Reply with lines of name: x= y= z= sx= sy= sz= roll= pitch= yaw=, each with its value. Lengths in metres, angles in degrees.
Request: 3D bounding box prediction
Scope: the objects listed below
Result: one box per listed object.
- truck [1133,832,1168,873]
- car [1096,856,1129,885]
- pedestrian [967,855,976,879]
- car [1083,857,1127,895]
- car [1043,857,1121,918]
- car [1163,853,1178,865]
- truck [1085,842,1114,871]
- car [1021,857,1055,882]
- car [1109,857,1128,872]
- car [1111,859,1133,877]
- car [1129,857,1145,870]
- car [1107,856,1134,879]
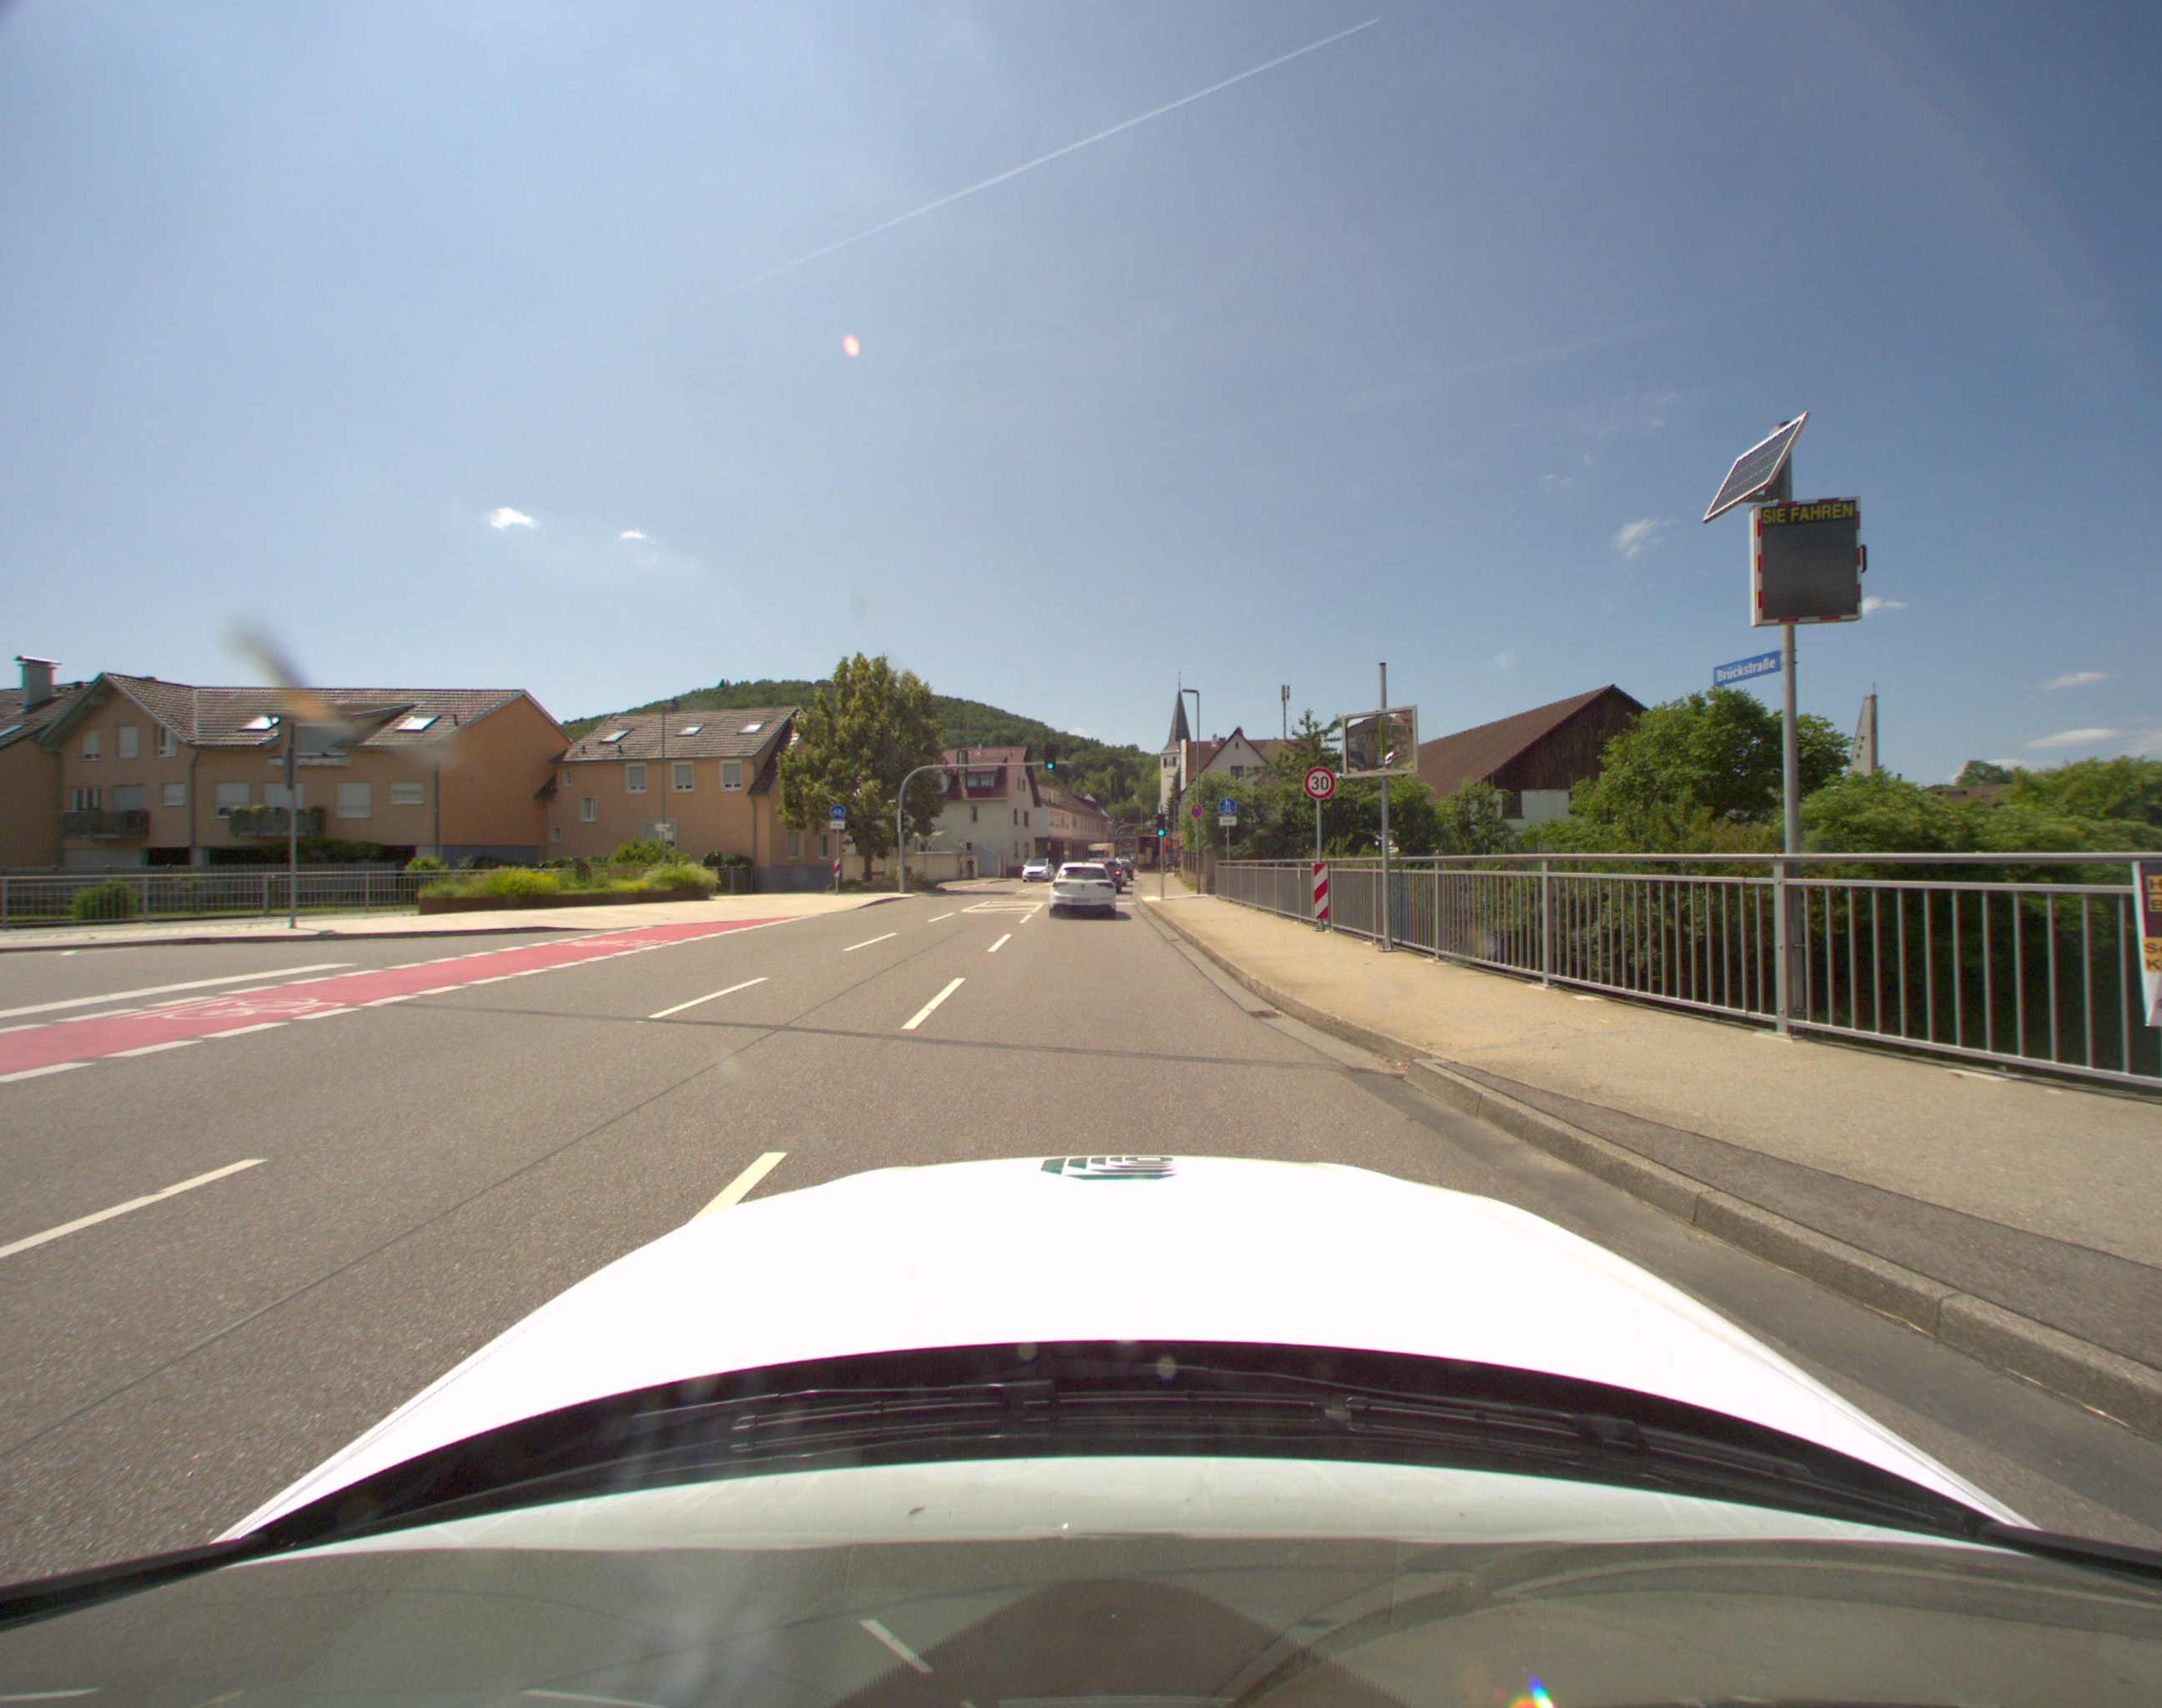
truck: x=7.744 y=-0.103 z=90.013 sx=3.349 sy=4.170 sz=9.537 roll=-2 pitch=-1 yaw=7
car: x=1.931 y=0.958 z=48.875 sx=1.807 sy=1.629 sz=4.005 roll=-2 pitch=-1 yaw=5
pedestrian: x=-8.194 y=0.974 z=60.968 sx=0.430 sy=1.764 sz=0.560 roll=-1 pitch=-1 yaw=23
car: x=1.195 y=0.999 z=38.206 sx=1.807 sy=1.629 sz=4.005 roll=-2 pitch=-1 yaw=5
car: x=0.119 y=0.879 z=22.543 sx=1.807 sy=1.519 sz=4.005 roll=1 pitch=-1 yaw=5
car: x=11.463 y=0.642 z=104.837 sx=1.807 sy=1.519 sz=4.005 roll=-2 pitch=-1 yaw=5
truck: x=2.166 y=0.313 z=94.099 sx=2.488 sy=3.235 sz=6.053 roll=-2 pitch=-1 yaw=8
car: x=-2.982 y=1.078 z=56.749 sx=1.807 sy=1.650 sz=4.005 roll=1 pitch=-1 yaw=5
car: x=4.074 y=1.095 z=87.604 sx=1.807 sy=1.519 sz=4.005 roll=-2 pitch=-1 yaw=5
car: x=3.816 y=1.294 z=75.420 sx=1.807 sy=1.519 sz=4.005 roll=-2 pitch=-1 yaw=5
car: x=6.814 y=1.154 z=98.491 sx=1.807 sy=1.519 sz=4.005 roll=-2 pitch=-1 yaw=5
car: x=3.012 y=0.994 z=61.251 sx=1.807 sy=1.629 sz=4.005 roll=-2 pitch=-1 yaw=5
